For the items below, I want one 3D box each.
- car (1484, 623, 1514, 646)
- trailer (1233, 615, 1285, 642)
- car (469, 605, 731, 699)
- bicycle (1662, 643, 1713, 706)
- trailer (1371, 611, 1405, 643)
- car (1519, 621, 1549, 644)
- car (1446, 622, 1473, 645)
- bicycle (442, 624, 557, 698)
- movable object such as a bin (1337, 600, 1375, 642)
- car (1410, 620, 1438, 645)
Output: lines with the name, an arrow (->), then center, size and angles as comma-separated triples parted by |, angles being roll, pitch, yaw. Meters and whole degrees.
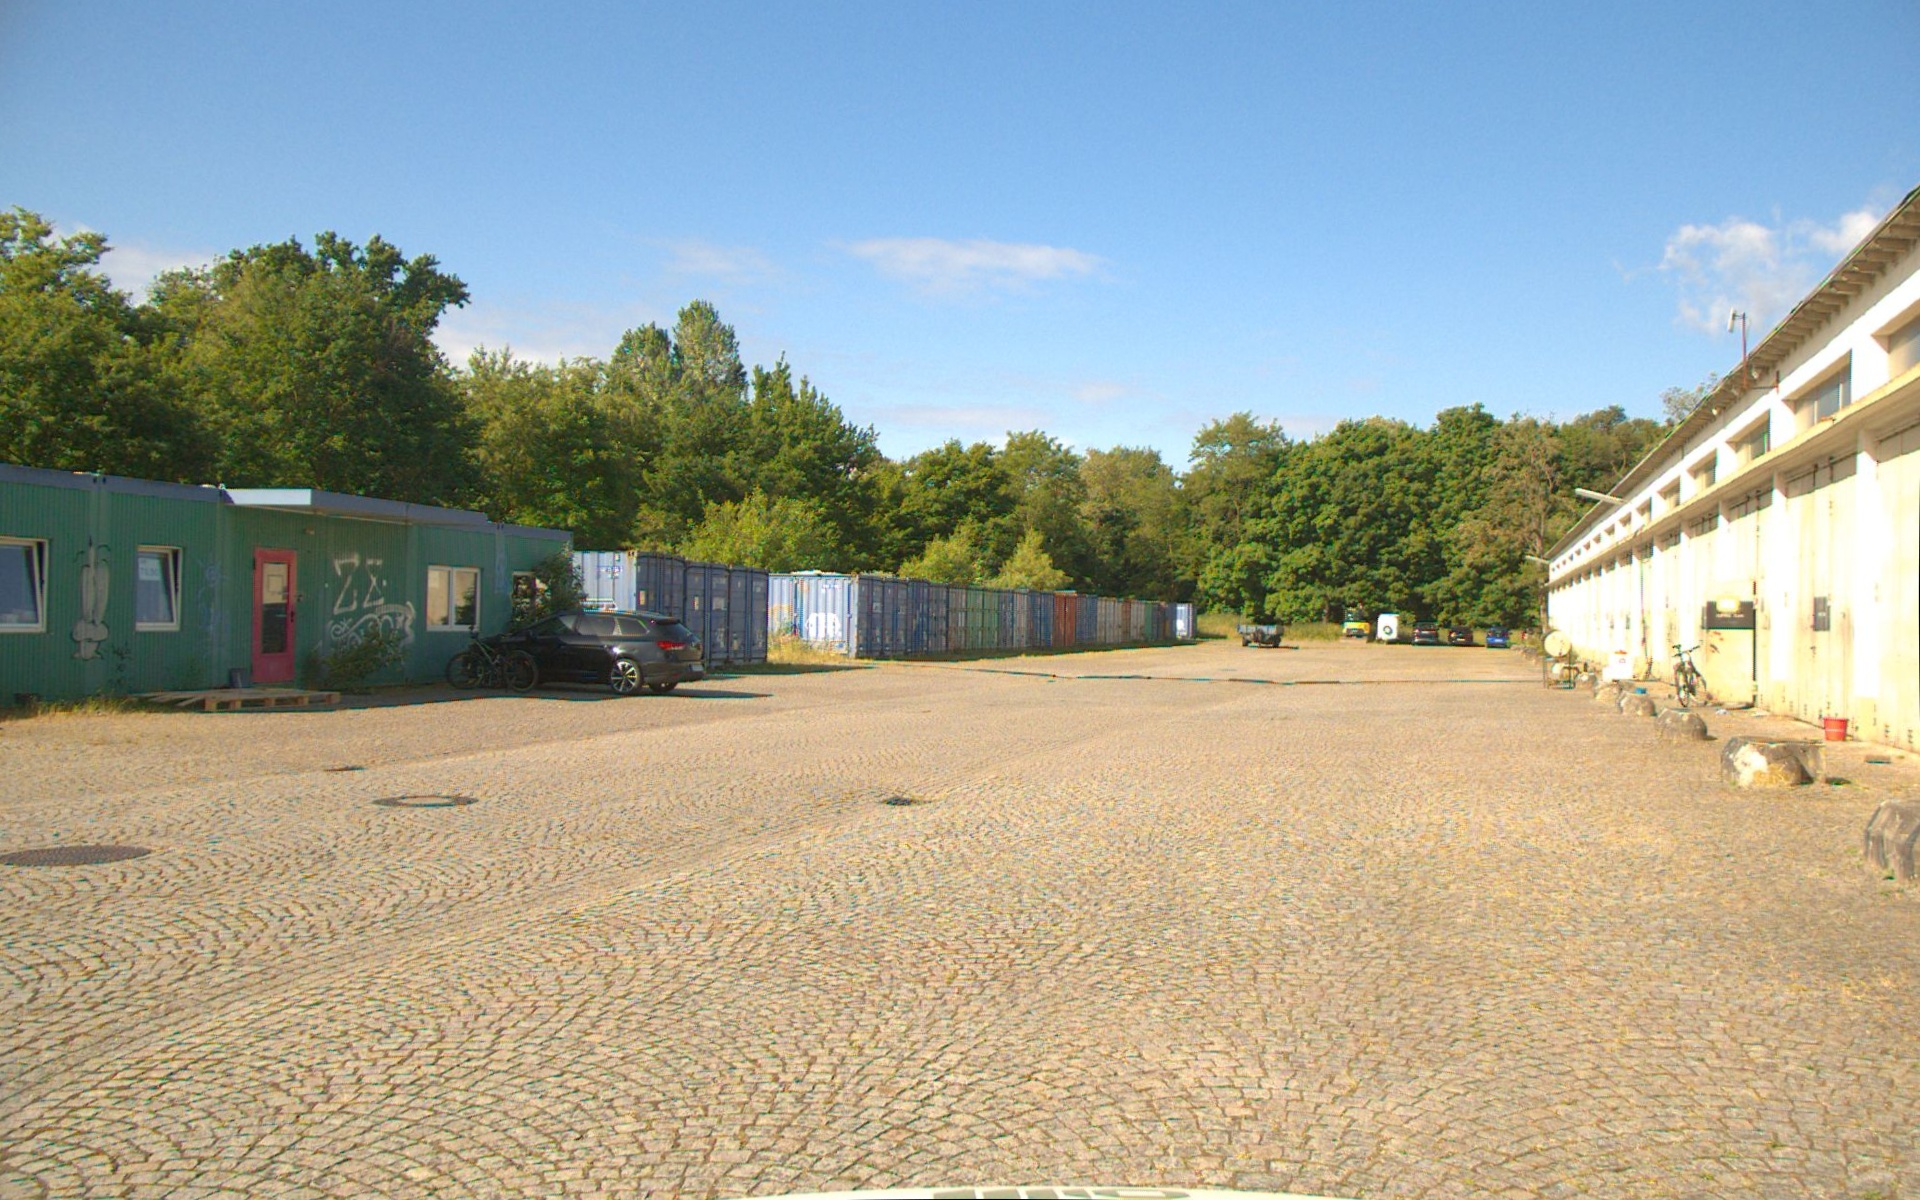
car -> 38.566, 2.448, 118.287 | 1.709, 1.461, 4.182 | 2, 1, 22
trailer -> 19.120, 1.772, 105.594 | 2.648, 1.491, 6.251 | 2, 1, 16
car -> -6.454, 0.910, 29.798 | 4.161, 1.475, 1.932 | 2, -1, 15
bicycle -> 13.184, 1.336, 29.950 | 0.652, 1.087, 1.821 | 1, -1, 29
trailer -> 31.757, 1.981, 122.656 | 2.147, 2.131, 5.754 | 2, 1, 17
car -> 41.273, 2.296, 118.898 | 1.709, 1.461, 4.181 | 2, 1, 24
car -> 36.003, 2.404, 119.174 | 1.824, 1.496, 4.298 | 2, 1, 17
bicycle -> -7.888, 1.031, 28.332 | 1.765, 1.190, 0.669 | 2, -1, 15
movable object such as a bin -> 29.720, 1.548, 123.939 | 2.258, 2.947, 5.754 | 2, 1, 18
car -> 33.573, 2.334, 119.569 | 1.824, 1.617, 4.298 | 2, 1, 17
